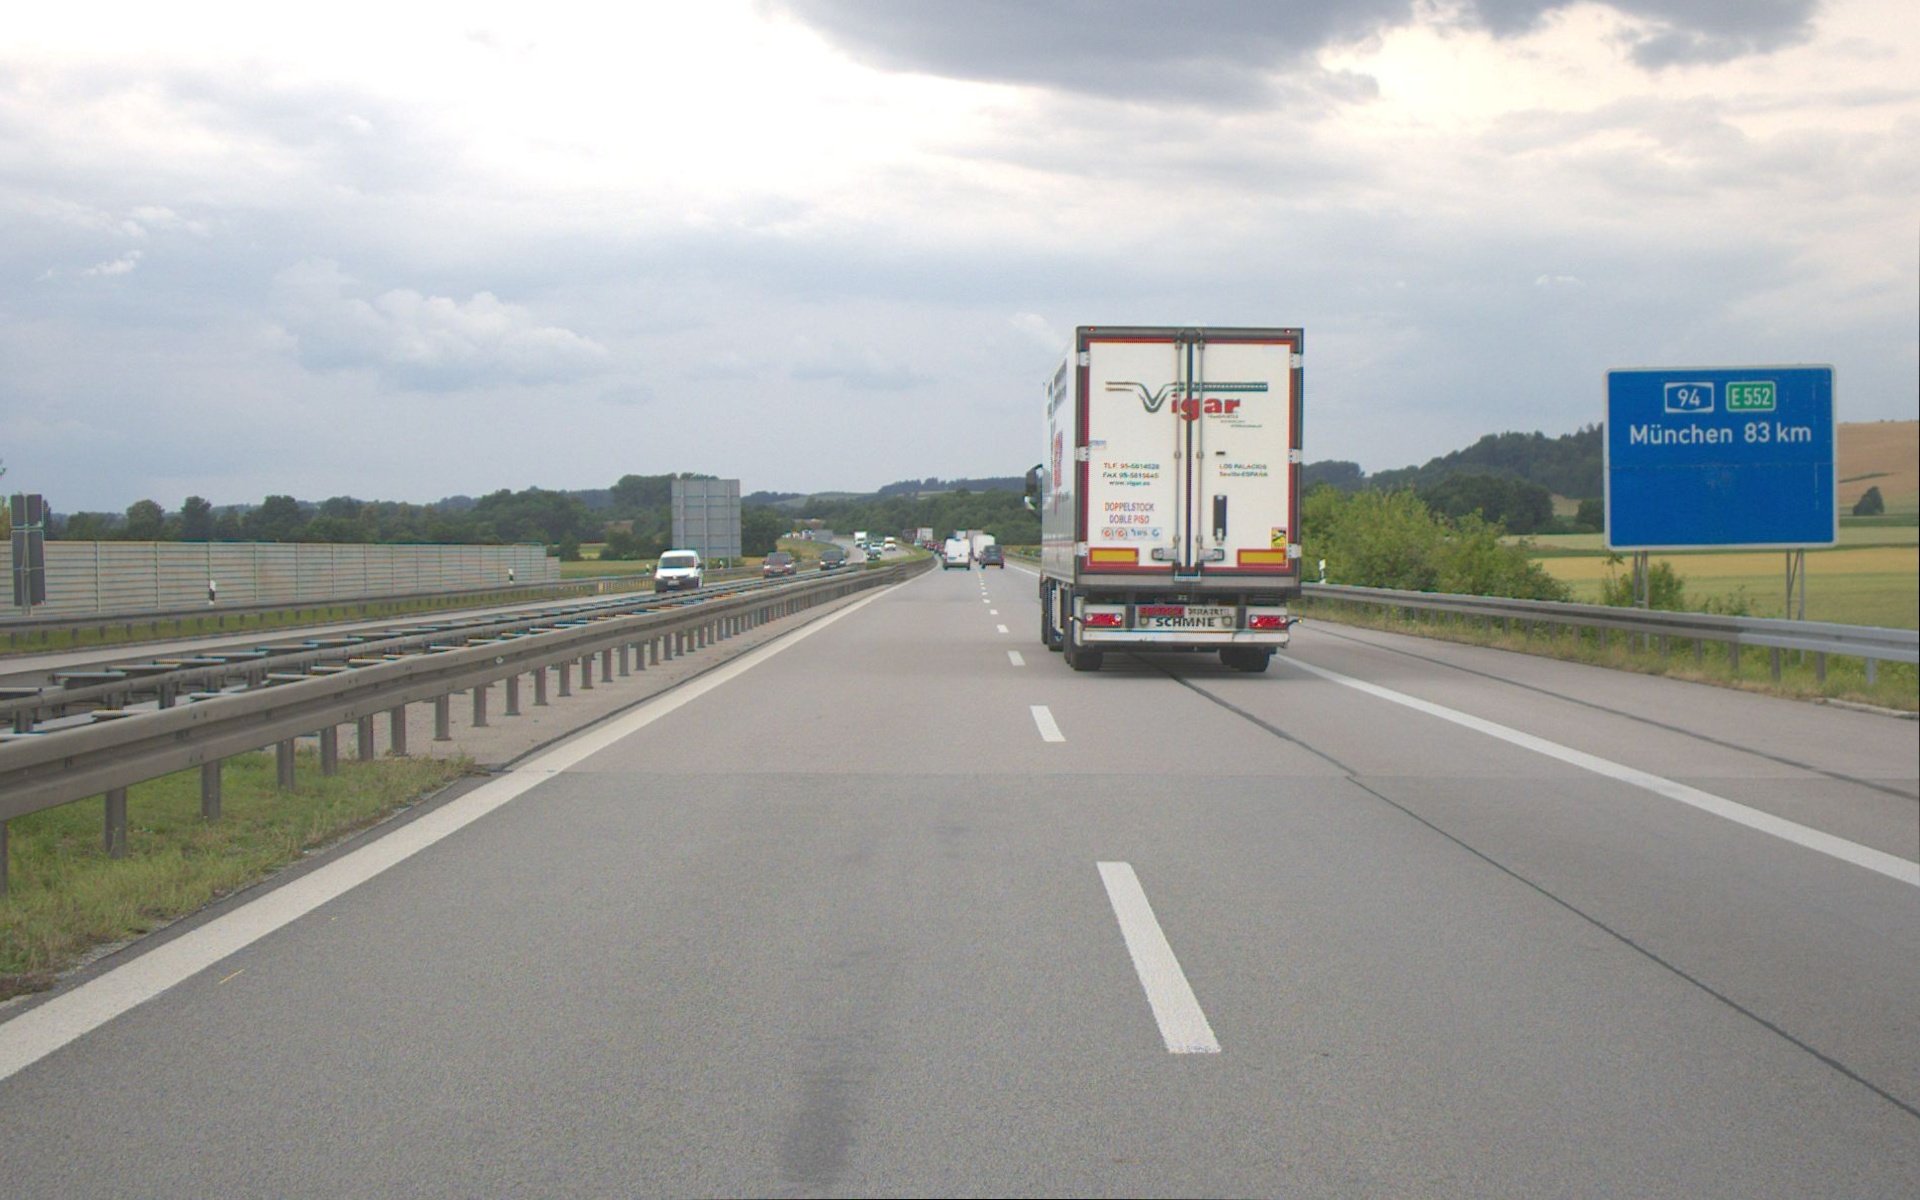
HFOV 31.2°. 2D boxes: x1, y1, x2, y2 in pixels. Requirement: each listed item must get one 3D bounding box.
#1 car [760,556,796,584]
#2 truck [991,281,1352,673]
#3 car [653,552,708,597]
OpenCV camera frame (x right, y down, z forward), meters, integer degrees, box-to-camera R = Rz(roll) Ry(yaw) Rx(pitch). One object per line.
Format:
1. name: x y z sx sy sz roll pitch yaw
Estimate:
1. car: -11.026 -1.829 208.781 1.895 1.626 4.174 -3 1 0
2. truck: 2.464 -1.543 46.915 3.672 4.397 16.342 0 1 -1
3. car: -11.506 -1.063 141.638 1.755 1.736 4.914 -3 1 0
